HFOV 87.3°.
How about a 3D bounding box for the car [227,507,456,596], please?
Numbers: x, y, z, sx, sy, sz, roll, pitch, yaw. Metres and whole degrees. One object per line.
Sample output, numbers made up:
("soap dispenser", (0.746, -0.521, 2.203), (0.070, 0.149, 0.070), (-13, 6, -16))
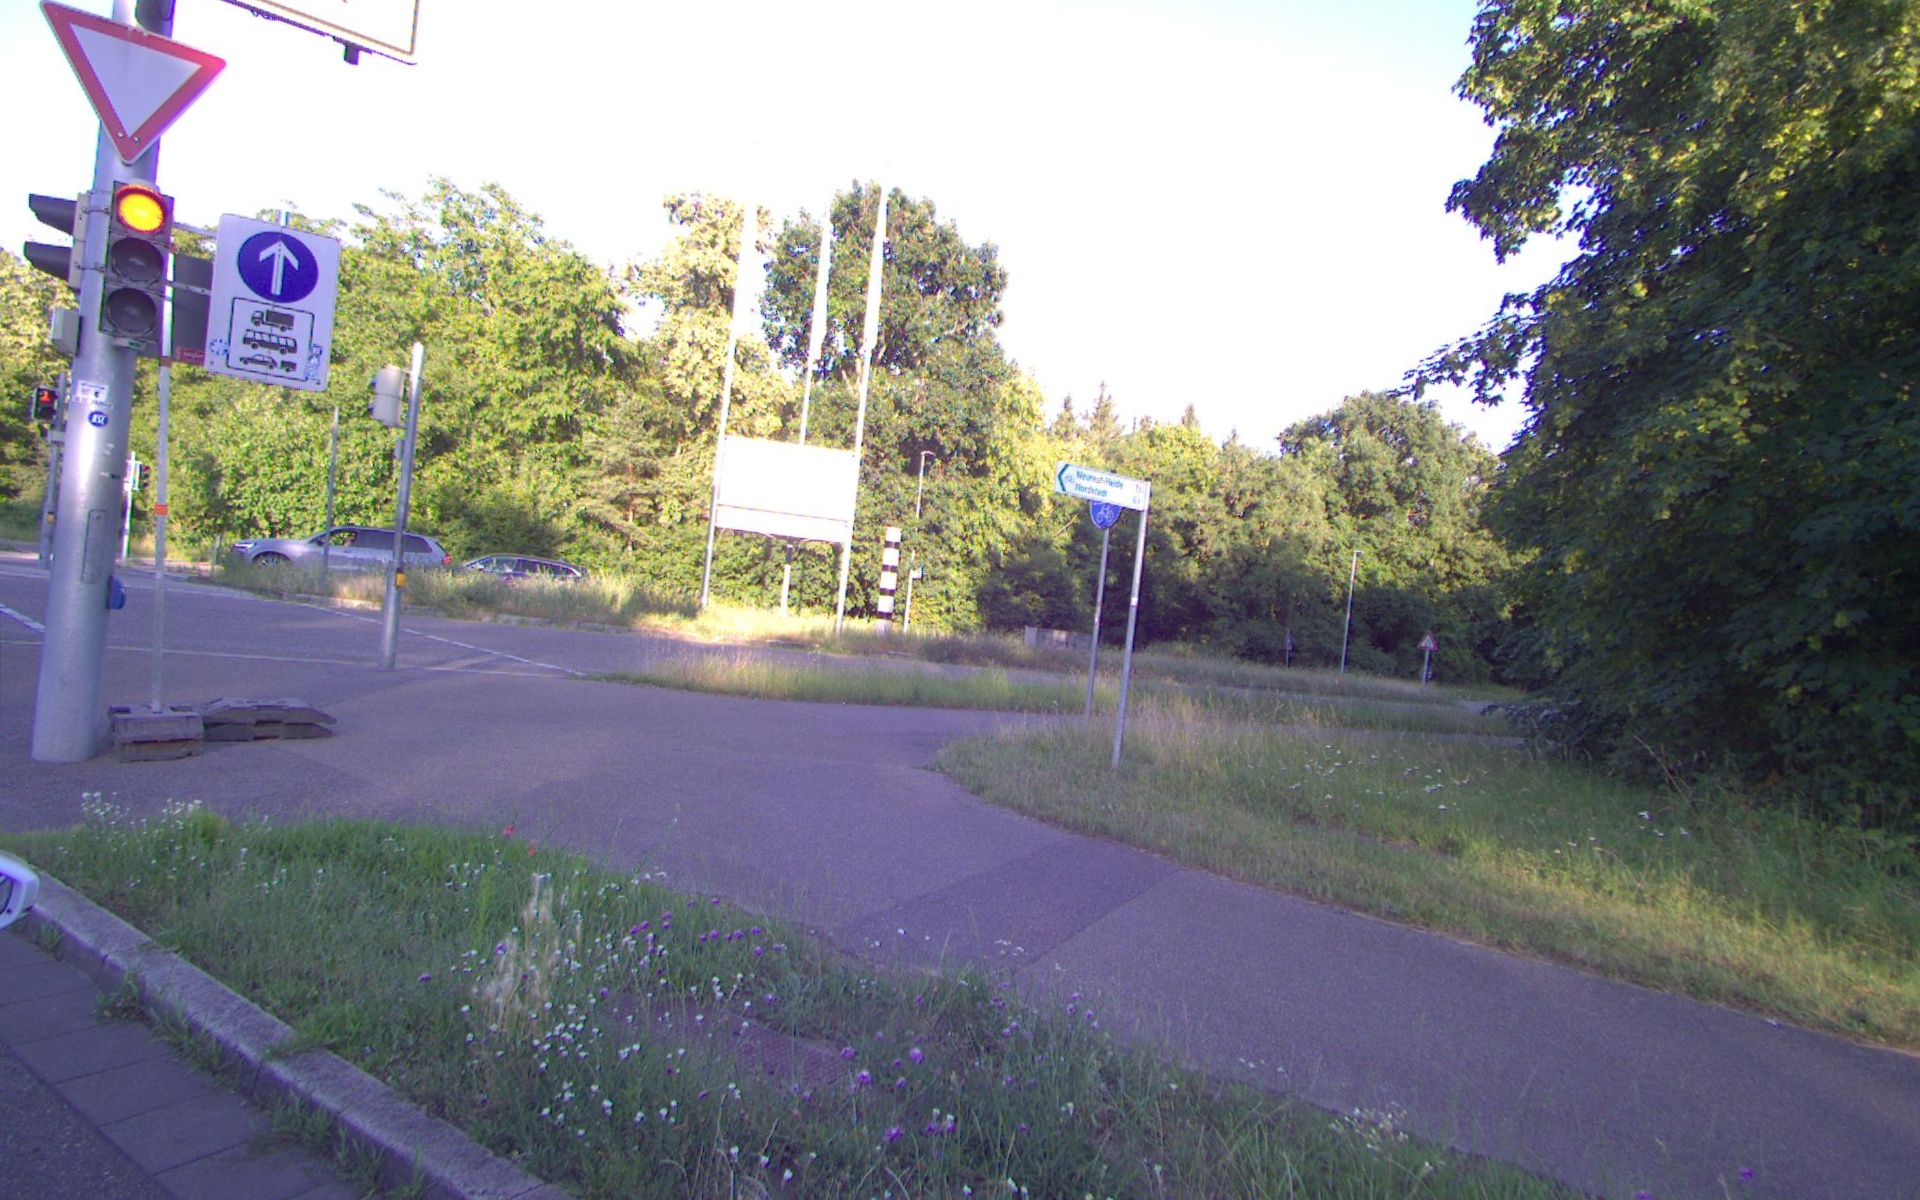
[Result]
("car", (-15.916, -1.207, 25.993), (4.790, 1.618, 1.980), (7, 0, -37))

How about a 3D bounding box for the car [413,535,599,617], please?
("car", (-11.243, -0.579, 24.975), (3.840, 1.507, 1.754), (7, -1, -36))
